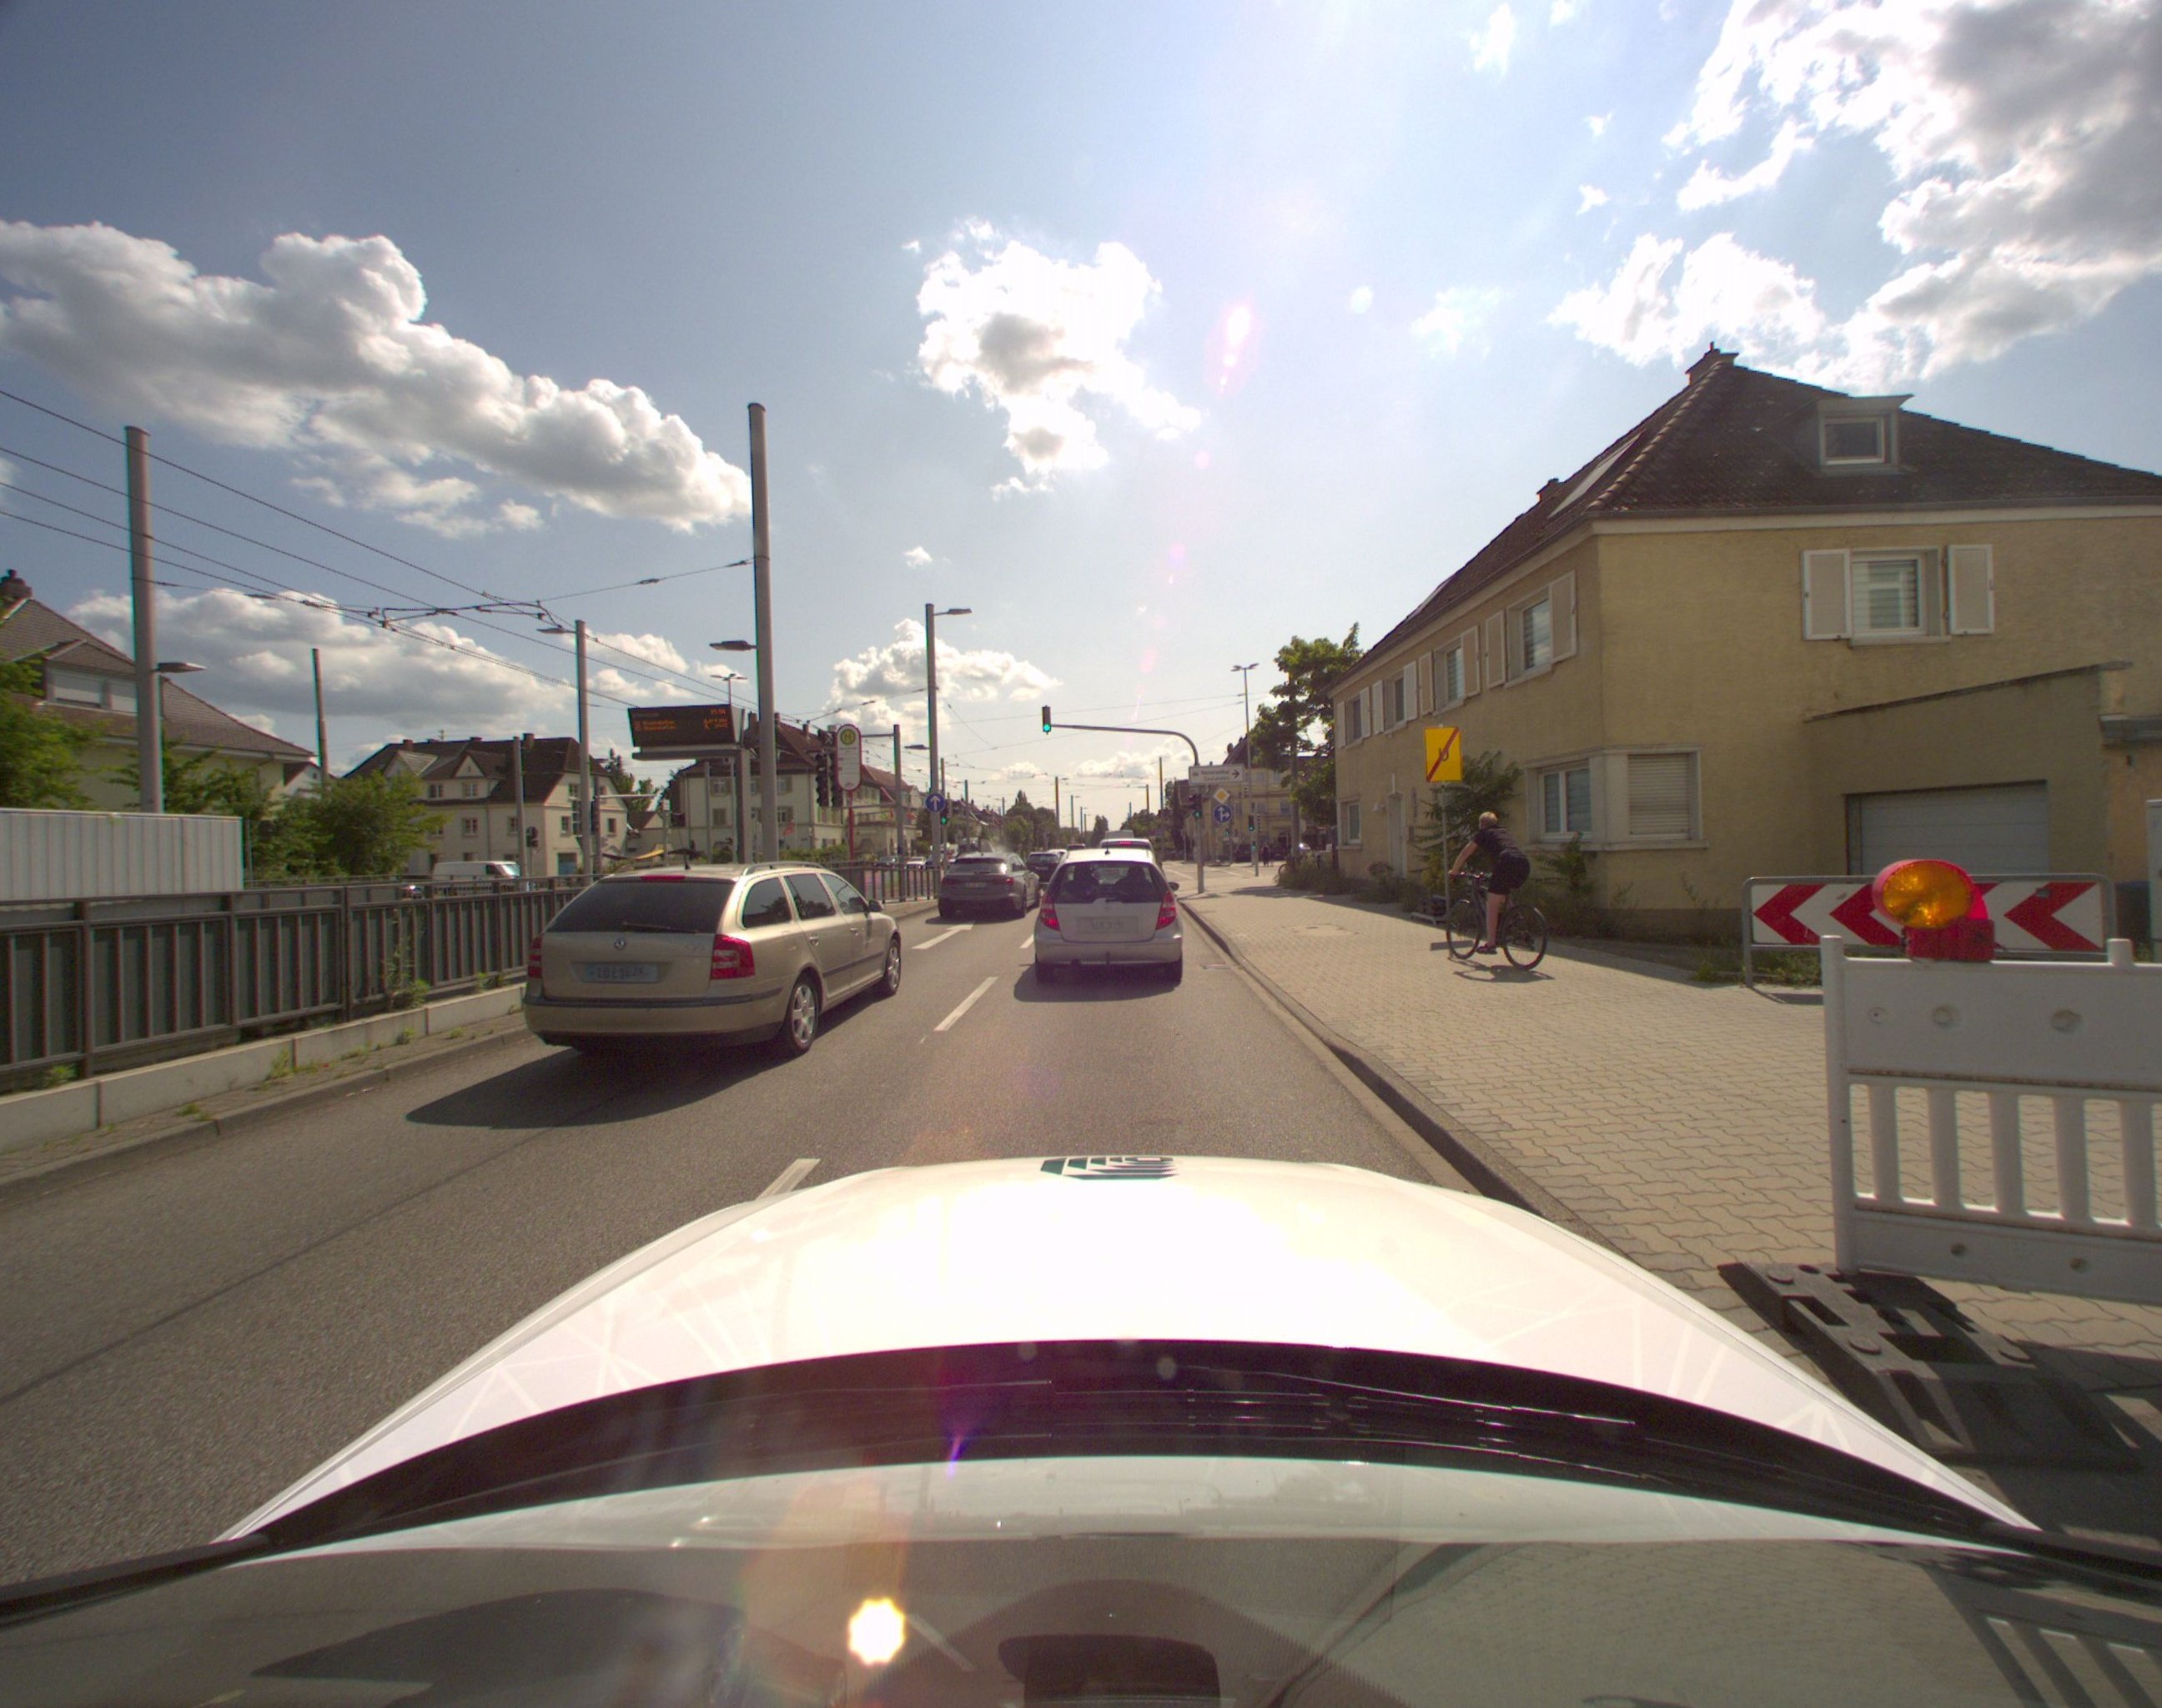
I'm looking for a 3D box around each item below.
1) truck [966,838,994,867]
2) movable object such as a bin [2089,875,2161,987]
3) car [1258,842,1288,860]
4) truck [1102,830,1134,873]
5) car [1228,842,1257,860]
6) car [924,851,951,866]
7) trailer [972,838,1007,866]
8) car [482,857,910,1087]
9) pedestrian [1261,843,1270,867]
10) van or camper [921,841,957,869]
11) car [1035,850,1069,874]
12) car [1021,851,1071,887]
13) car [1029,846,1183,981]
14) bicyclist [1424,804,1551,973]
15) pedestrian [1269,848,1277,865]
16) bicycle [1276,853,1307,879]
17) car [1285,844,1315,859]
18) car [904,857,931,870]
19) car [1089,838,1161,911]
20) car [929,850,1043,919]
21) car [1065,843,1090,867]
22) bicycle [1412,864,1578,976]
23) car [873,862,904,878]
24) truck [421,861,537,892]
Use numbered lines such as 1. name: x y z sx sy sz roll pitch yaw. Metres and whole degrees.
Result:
1. truck: -14.289 -0.275 115.926 2.587 3.821 5.676 -4 1 5
2. movable object such as a bin: 10.982 0.769 8.289 0.610 1.087 0.669 0 -1 11
3. car: 17.424 -0.279 74.018 1.985 1.596 4.134 0 0 3
4. truck: 2.280 -0.149 51.169 1.846 2.552 5.855 0 0 1
5. car: 14.607 -0.231 74.001 1.985 1.596 4.134 0 0 3
6. car: -13.555 0.424 77.188 1.677 1.351 4.181 0 0 3
7. trailer: -13.648 -0.405 123.149 2.587 3.821 12.854 -4 1 5
8. car: -2.876 0.759 7.222 1.724 1.449 4.124 0 0 2
9. pedestrian: 12.625 0.062 55.699 0.544 1.643 0.402 0 -1 7
10. van or camper: -16.248 0.097 93.789 2.314 2.929 7.760 -2 0 3
11. car: -1.715 0.469 49.350 1.846 1.388 3.919 0 0 1
12. car: -1.398 0.611 34.151 1.846 1.388 4.514 0 0 1
13. car: 0.294 0.680 11.178 1.724 1.517 4.016 0 0 0
14. bicyclist: 4.661 0.372 9.413 0.826 1.793 1.083 -3 0 -2
15. pedestrian: 13.165 0.195 55.750 0.485 1.136 0.389 0 -1 8
16. bicycle: 8.540 0.485 33.042 0.457 1.018 1.767 -1 -1 42
17. car: 19.868 -0.214 74.042 1.860 1.351 4.134 0 0 3
18. car: -16.761 0.944 83.825 1.677 1.351 4.348 0 0 3
19. car: 1.086 0.495 21.729 1.724 1.762 4.016 0 0 0
20. car: -2.144 0.651 19.769 1.908 1.477 4.567 0 0 4
21. car: -0.253 0.072 64.086 1.846 1.843 3.919 0 0 1
22. bicycle: 4.682 0.692 9.396 0.826 1.075 1.970 -3 1 -2
23. car: -17.452 1.423 74.055 1.678 1.351 4.346 0 0 1
24. truck: -37.410 1.386 50.672 6.156 1.922 1.692 0 -1 4
